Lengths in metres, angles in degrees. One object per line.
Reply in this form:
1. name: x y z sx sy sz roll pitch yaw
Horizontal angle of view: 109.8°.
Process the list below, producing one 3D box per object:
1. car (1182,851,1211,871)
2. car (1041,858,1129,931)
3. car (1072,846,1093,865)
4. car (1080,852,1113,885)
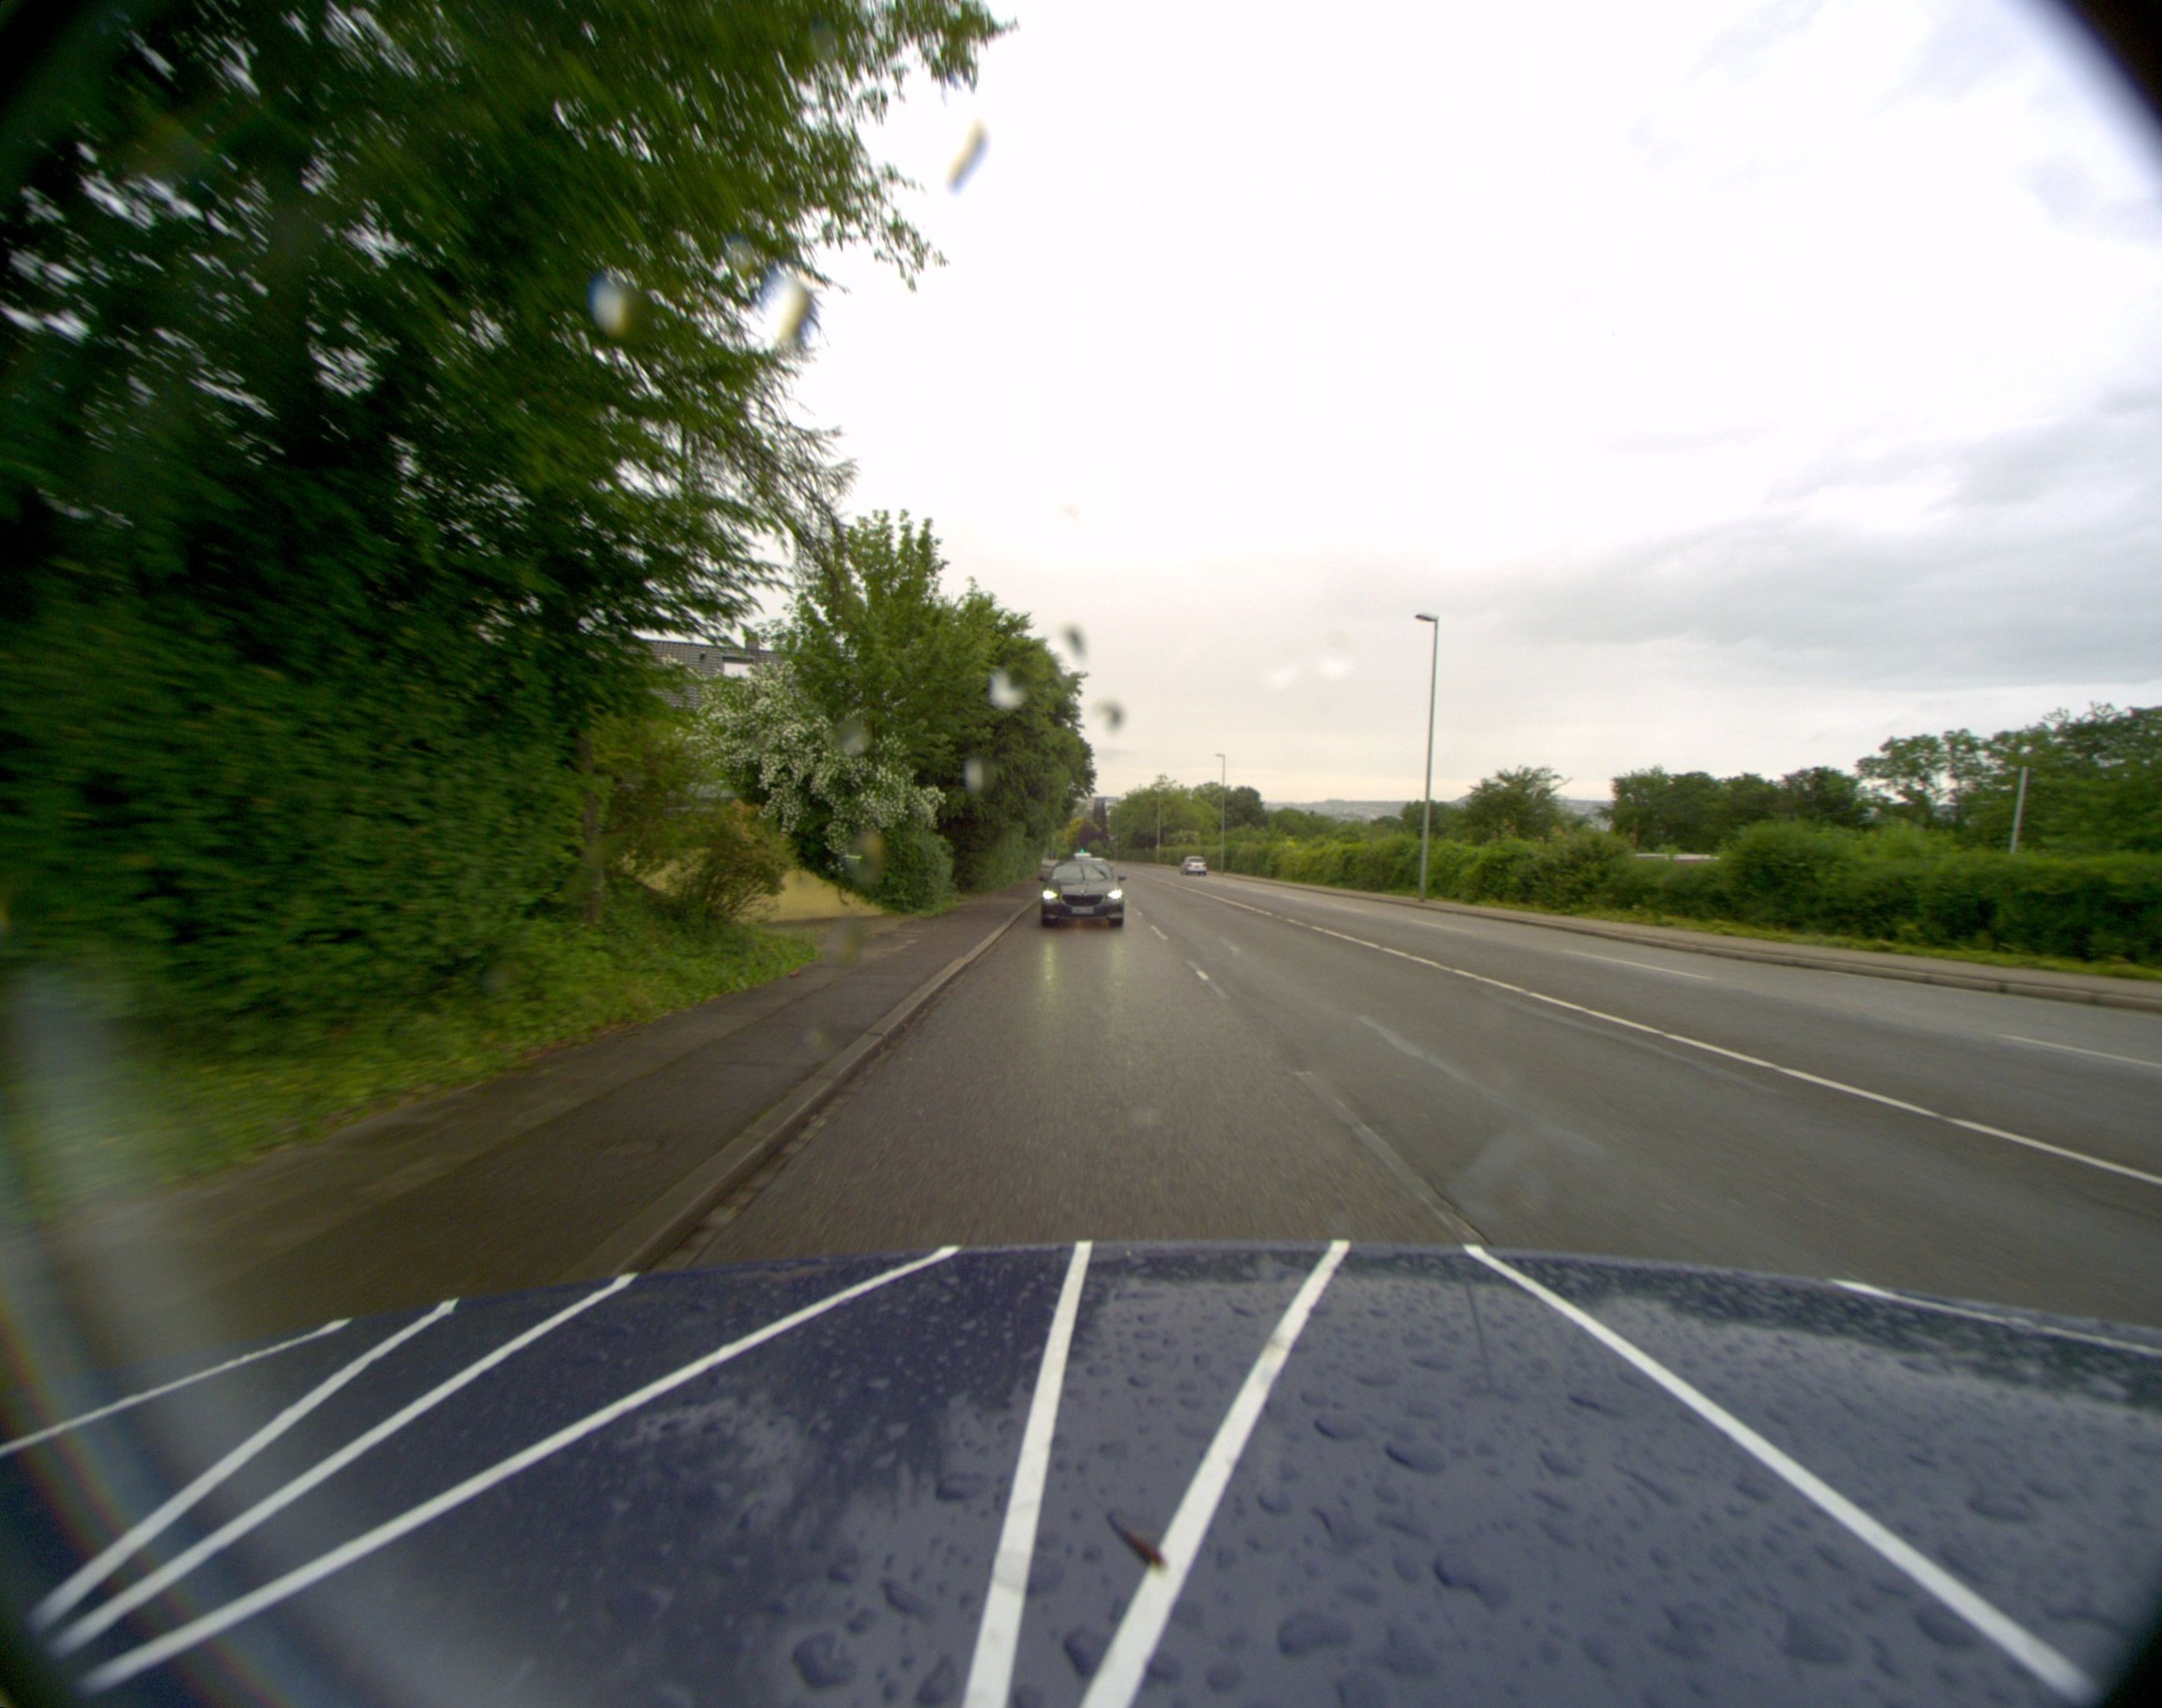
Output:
1. car: 9.851 0.586 64.861 1.761 1.559 3.999 1 1 -1
2. car: -0.010 0.884 18.533 1.846 1.371 4.280 -2 2 -3
3. car: 0.113 0.112 71.548 1.703 1.670 4.281 0 1 -3
4. car: 0.776 0.684 37.918 1.550 1.505 4.283 1 1 1
